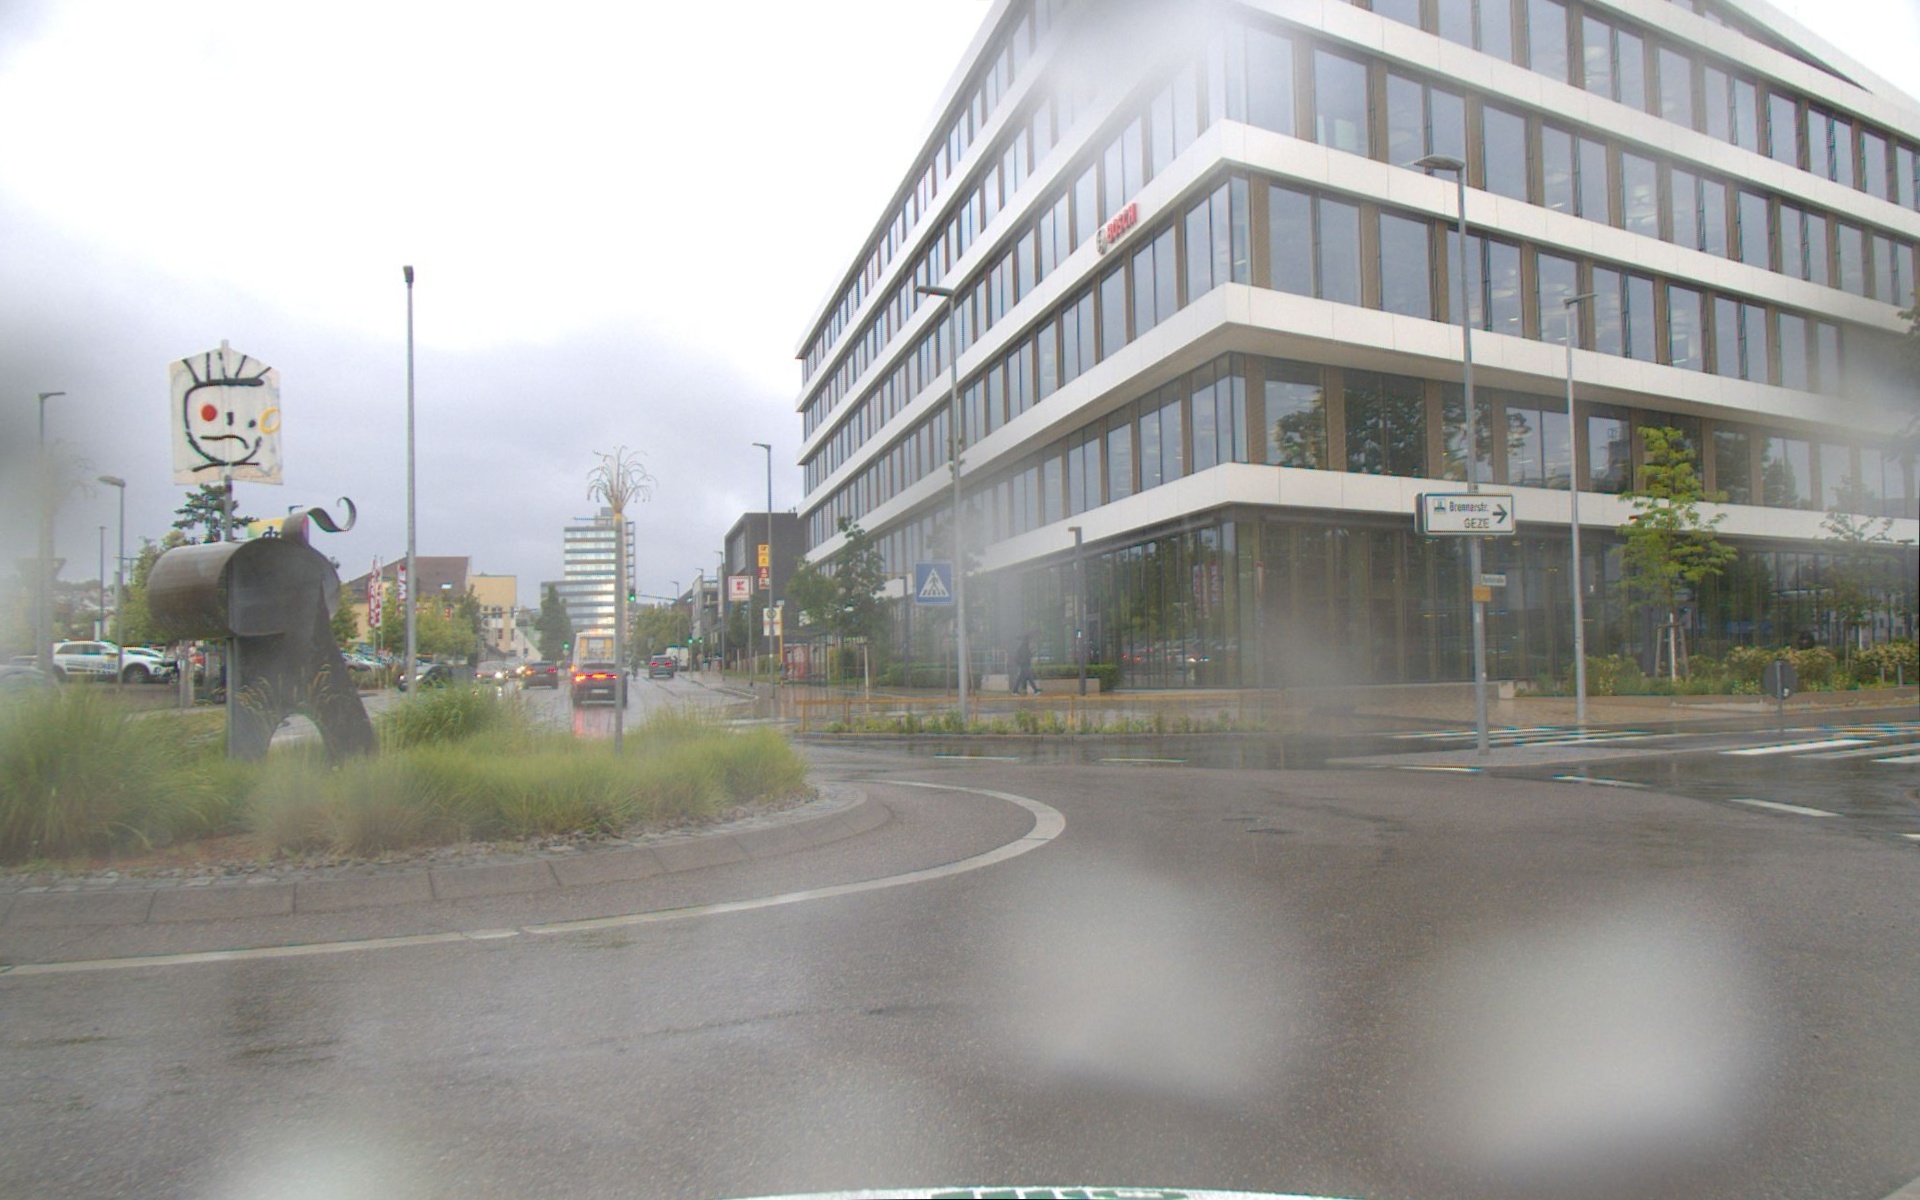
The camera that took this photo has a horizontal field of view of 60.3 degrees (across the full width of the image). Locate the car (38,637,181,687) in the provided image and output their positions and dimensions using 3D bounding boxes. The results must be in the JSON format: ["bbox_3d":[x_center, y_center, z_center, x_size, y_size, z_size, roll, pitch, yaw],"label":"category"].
[{"bbox_3d":[-28.470,2.061,55.485,3.921,1.579,1.844,-1,-2,-16],"label":"car"}]

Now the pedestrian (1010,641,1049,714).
[{"bbox_3d":[2.115,2.357,50.478,0.984,2.183,0.929,-1,-2,-10],"label":"pedestrian"}]

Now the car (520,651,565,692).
[{"bbox_3d":[-21.827,3.699,86.556,1.957,1.892,3.990,2,0,-10],"label":"car"}]

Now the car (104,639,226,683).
[{"bbox_3d":[-30.341,2.306,63.216,3.921,1.579,1.787,-1,-2,-16],"label":"car"}]

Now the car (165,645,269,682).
[{"bbox_3d":[-32.836,2.798,73.208,3.921,1.579,1.787,-1,-2,-16],"label":"car"}]

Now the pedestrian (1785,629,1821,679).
[{"bbox_3d":[29.607,1.896,58.111,0.944,1.733,0.718,2,0,-33],"label":"pedestrian"}]

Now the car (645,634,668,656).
[{"bbox_3d":[-28.347,4.202,154.543,1.957,1.892,3.990,2,0,-10],"label":"car"}]

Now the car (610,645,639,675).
[{"bbox_3d":[-25.111,4.497,123.876,1.957,2.049,3.991,-1,0,-10],"label":"car"}]

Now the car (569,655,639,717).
[{"bbox_3d":[-11.541,2.765,53.868,1.956,1.758,3.993,0,0,-8],"label":"car"}]

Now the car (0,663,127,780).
[{"bbox_3d":[-12.820,1.530,20.506,1.951,1.407,5.345,-1,-2,4],"label":"car"}]

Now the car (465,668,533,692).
[{"bbox_3d":[-28.472,4.928,102.263,1.954,1.423,3.997,-2,-2,24],"label":"car"}]

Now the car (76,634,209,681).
[{"bbox_3d":[-28.946,2.041,58.687,3.921,1.579,1.787,-1,-2,-16],"label":"car"}]

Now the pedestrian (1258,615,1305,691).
[{"bbox_3d":[8.878,1.459,45.682,0.923,2.049,0.880,1,-2,-40],"label":"pedestrian"}]

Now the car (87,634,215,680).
[{"bbox_3d":[-29.588,2.089,60.569,3.921,1.579,1.787,-1,-2,-16],"label":"car"}]

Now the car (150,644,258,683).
[{"bbox_3d":[-32.279,2.705,70.736,3.921,1.579,1.787,-1,-2,-16],"label":"car"}]

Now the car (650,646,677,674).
[{"bbox_3d":[-22.823,4.602,127.206,1.957,1.892,3.990,2,0,-10],"label":"car"}]

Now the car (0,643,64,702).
[{"bbox_3d":[-36.270,2.782,64.344,1.966,2.049,3.974,2,0,-22],"label":"car"}]

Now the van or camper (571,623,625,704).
[{"bbox_3d":[-14.923,2.548,67.984,1.960,3.142,5.082,-1,0,-14],"label":"van or camper"}]
